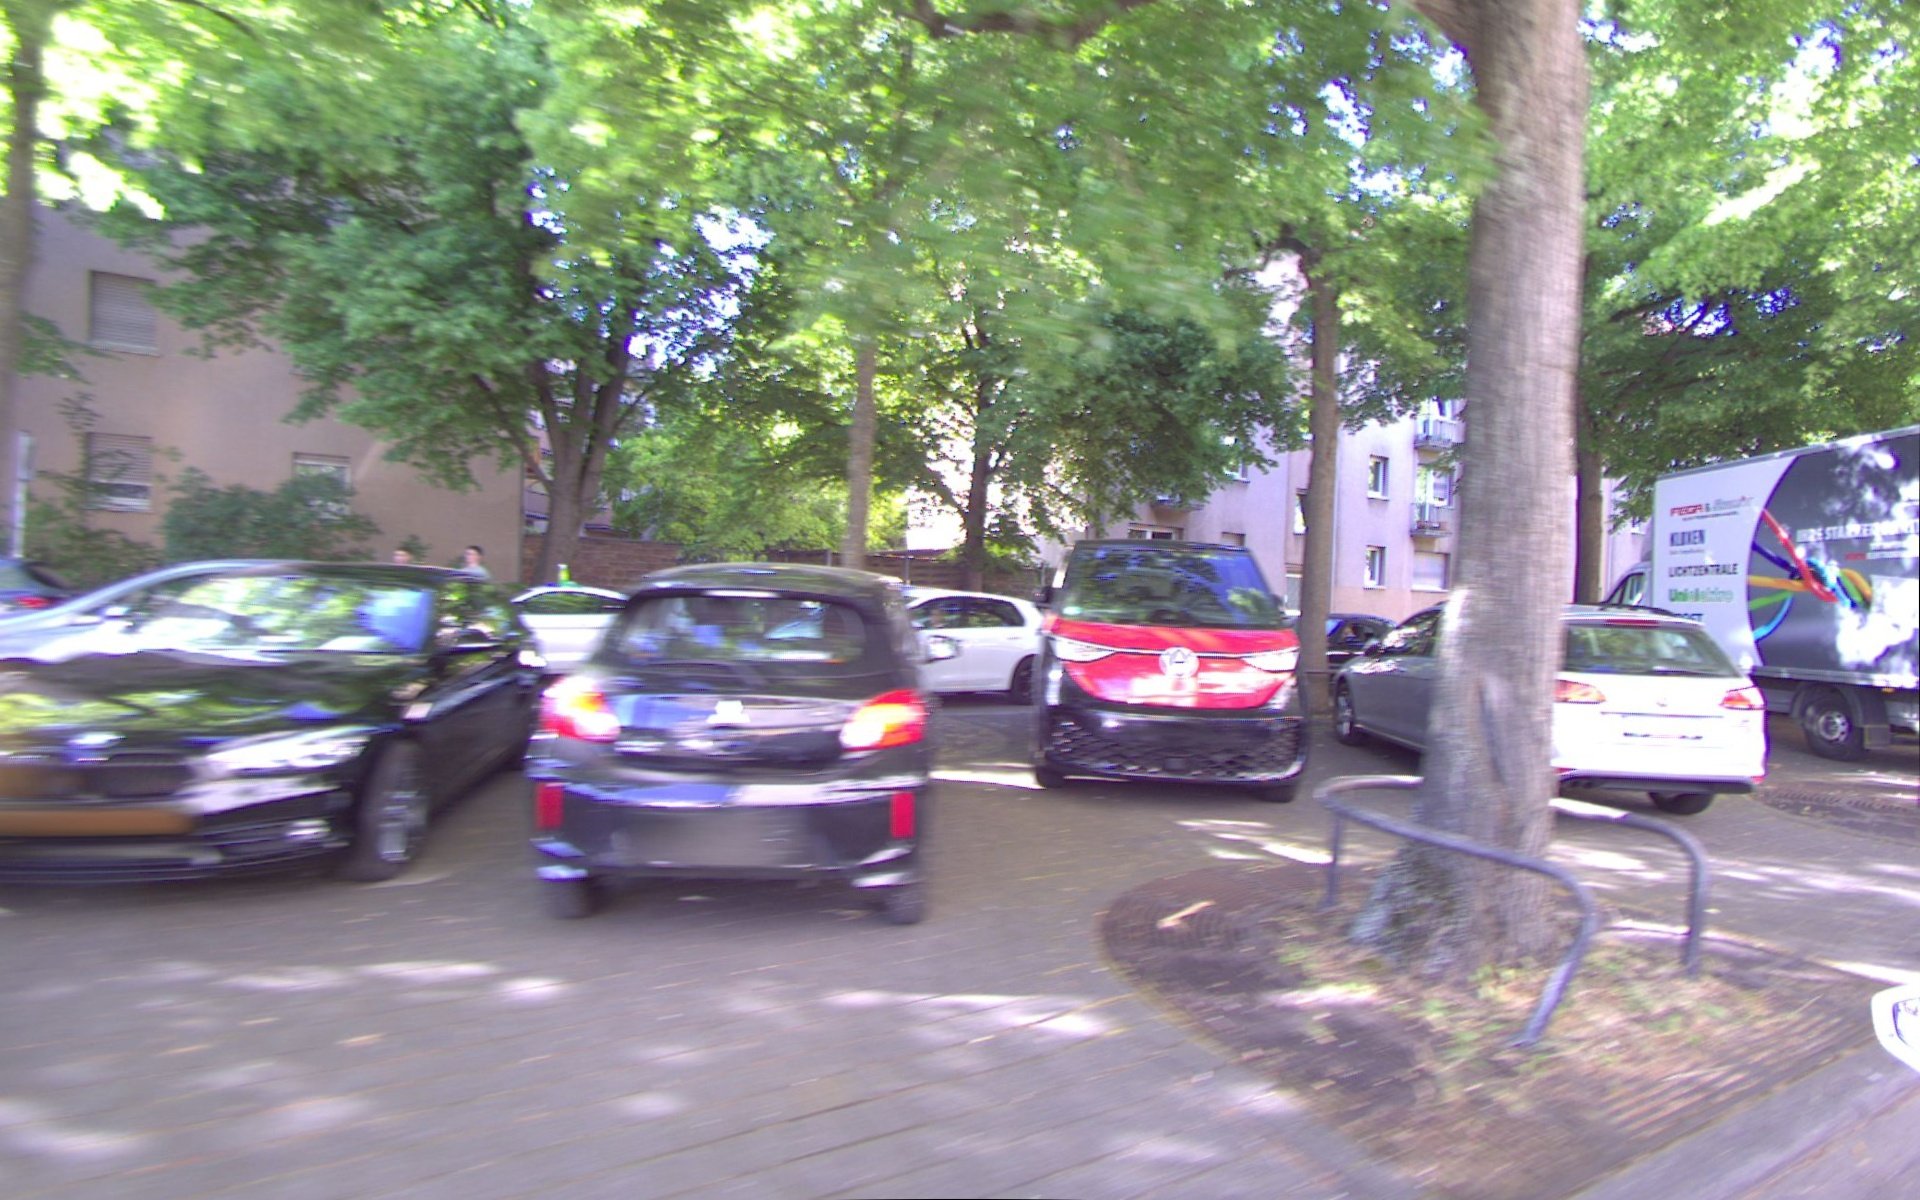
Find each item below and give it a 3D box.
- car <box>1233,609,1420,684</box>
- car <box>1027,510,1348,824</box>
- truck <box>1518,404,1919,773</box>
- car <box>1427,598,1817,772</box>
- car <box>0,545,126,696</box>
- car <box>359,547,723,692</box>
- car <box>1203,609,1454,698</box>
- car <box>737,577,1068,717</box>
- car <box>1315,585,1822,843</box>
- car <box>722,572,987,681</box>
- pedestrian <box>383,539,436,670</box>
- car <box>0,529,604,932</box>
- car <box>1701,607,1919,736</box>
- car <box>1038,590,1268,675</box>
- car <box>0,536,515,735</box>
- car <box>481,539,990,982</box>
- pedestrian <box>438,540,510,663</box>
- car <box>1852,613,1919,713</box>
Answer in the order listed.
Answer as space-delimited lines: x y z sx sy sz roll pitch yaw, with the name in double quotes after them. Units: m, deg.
7.972 0.975 21.694 4.304 1.454 1.751 2 -1 -37 "car"
1.573 0.403 8.581 1.897 1.898 4.504 2 1 3 "car"
9.977 -0.066 12.039 2.496 3.337 7.326 2 0 1 "truck"
7.215 0.792 11.602 1.777 1.527 4.345 2 1 3 "car"
-11.278 0.145 10.300 3.904 1.531 1.745 2 1 -31 "car"
-5.487 0.264 13.318 4.200 1.662 1.744 2 1 -33 "car"
6.288 0.880 16.966 4.368 1.312 1.753 2 -1 -34 "car"
-0.653 0.552 12.884 3.913 1.506 1.741 2 1 -38 "car"
4.550 0.696 8.443 1.777 1.527 4.345 2 1 3 "car"
-1.687 0.430 16.364 3.903 1.590 1.745 2 1 -30 "car"
-7.660 0.058 13.967 0.534 1.759 0.735 2 1 -34 "pedestrian"
-3.420 0.451 5.584 1.787 1.441 3.945 2 1 -6 "car"
12.852 0.939 14.177 1.812 1.523 4.000 3 1 1 "car"
3.803 0.635 19.576 4.293 1.454 1.755 2 1 -31 "car"
-6.441 0.287 9.322 3.913 1.506 1.741 2 1 -38 "car"
-0.836 0.558 5.445 1.727 1.500 3.822 2 0 -2 "car"
-7.136 0.021 14.769 0.727 1.759 0.540 2 1 3 "pedestrian"
15.668 1.039 14.618 1.699 1.526 4.108 3 1 1 "car"
